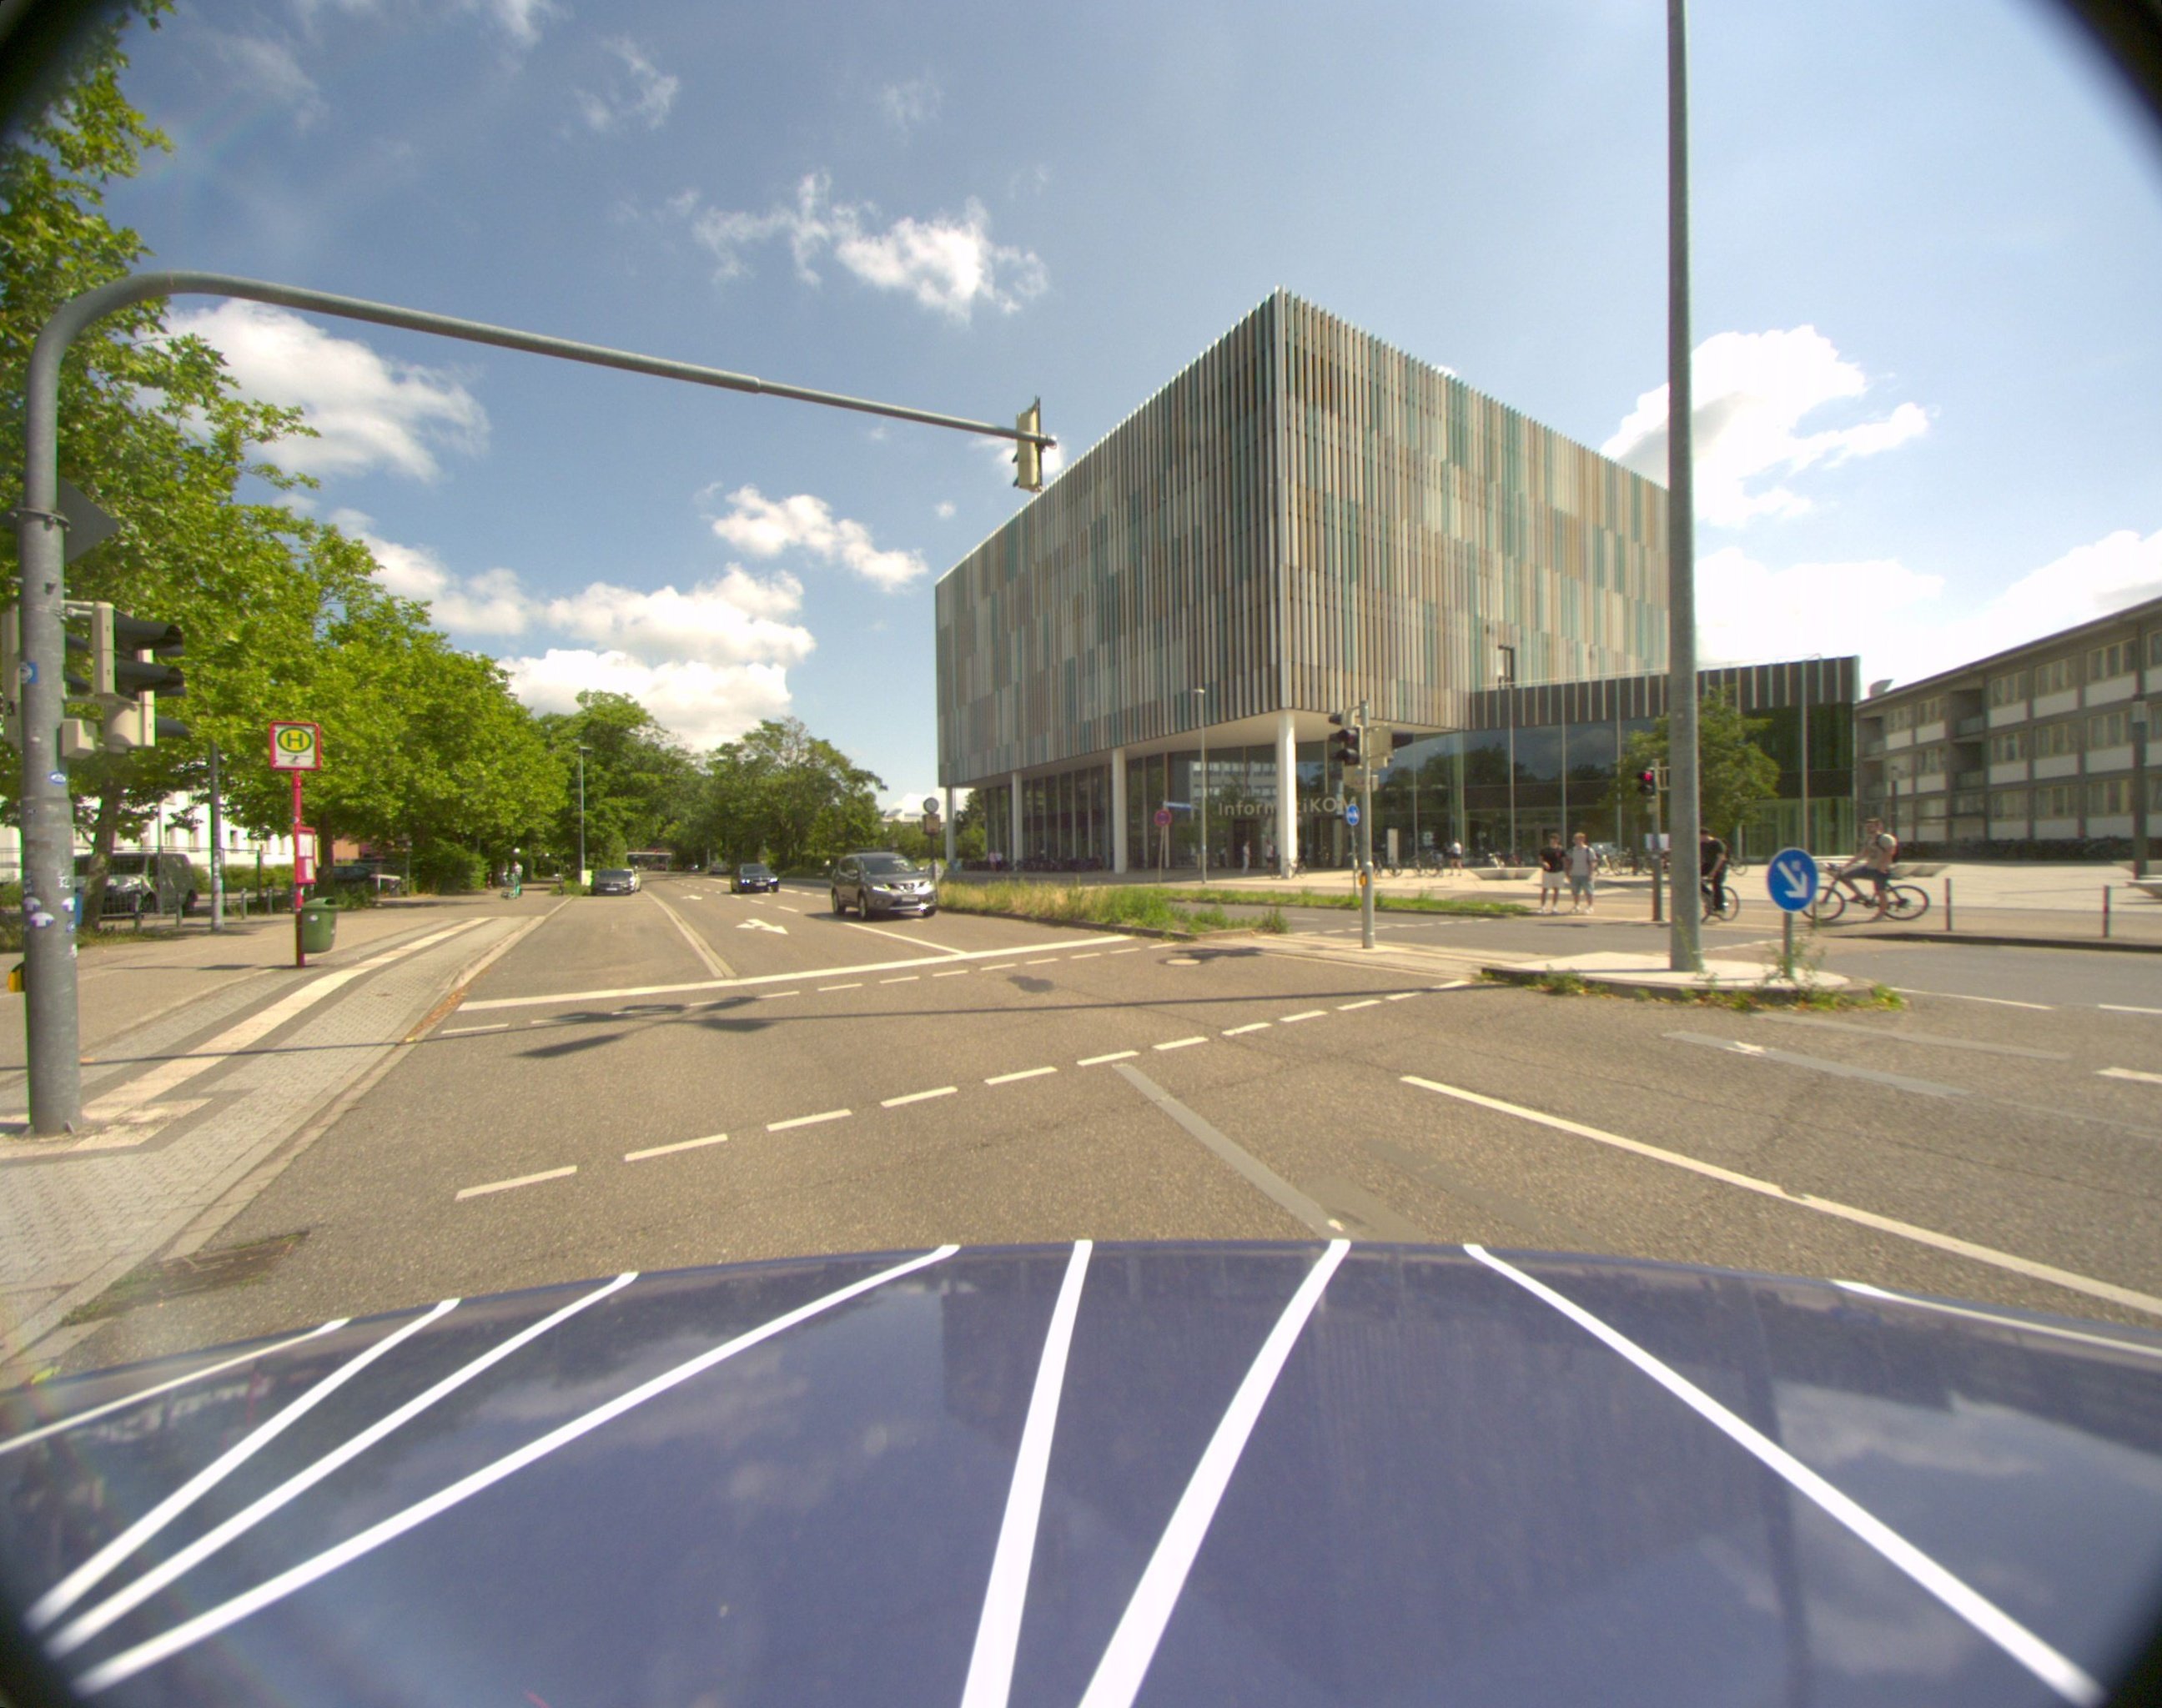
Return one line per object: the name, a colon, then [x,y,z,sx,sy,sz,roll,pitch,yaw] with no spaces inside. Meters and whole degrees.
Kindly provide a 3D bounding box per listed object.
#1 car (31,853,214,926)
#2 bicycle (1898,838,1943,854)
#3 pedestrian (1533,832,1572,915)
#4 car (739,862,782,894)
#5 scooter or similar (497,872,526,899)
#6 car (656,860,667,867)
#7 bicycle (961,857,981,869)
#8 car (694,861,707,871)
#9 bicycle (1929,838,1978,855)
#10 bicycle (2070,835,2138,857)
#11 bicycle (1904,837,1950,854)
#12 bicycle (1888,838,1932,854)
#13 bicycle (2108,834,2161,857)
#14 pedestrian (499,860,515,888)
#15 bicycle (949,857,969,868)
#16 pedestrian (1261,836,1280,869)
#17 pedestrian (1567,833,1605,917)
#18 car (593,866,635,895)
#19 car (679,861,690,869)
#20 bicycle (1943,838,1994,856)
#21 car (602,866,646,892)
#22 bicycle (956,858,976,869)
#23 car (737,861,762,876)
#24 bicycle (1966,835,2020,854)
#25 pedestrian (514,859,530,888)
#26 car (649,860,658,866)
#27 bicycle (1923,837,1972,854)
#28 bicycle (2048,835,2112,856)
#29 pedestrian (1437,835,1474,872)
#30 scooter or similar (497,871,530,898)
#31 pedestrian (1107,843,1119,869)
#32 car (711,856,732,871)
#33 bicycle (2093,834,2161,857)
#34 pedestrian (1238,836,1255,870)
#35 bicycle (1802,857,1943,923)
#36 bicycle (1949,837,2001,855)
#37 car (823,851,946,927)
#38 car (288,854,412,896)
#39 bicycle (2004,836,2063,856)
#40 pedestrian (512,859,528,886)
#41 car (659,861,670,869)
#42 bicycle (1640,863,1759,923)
car: [-28.047,0.956,22.477,1.907,1.854,4.929,-3,1,-34]
bicycle: [51.623,-0.507,46.747,1.768,0.950,0.530,-1,3,30]
pedestrian: [10.678,0.427,17.207,0.631,1.831,0.481,-1,2,44]
car: [-16.093,1.168,38.156,1.832,1.408,4.183,-3,1,-23]
scooter or similar: [-25.078,1.374,33.495,0.530,1.162,1.572,0,-1,-18]
car: [-100.407,2.365,181.858,1.902,1.502,3.820,-3,2,-26]
bicycle: [-10.246,0.832,70.574,1.788,0.950,0.432,-3,2,-32]
car: [-67.107,2.066,133.894,1.902,1.502,3.820,-3,2,-26]
bicycle: [50.339,-0.426,43.862,1.768,0.950,0.530,-1,3,30]
bicycle: [46.570,-0.376,34.624,1.768,0.950,0.530,-1,3,30]
bicycle: [51.356,-0.506,46.137,1.768,0.950,0.530,-1,3,30]
bicycle: [52.204,-0.520,47.872,1.768,0.950,0.530,-1,3,30]
bicycle: [45.575,-0.375,32.551,1.768,0.950,0.530,-1,3,30]
pedestrian: [-36.346,1.259,48.085,0.685,1.771,0.789,-4,3,-39]
bicycle: [-11.699,0.770,72.914,1.788,0.950,0.432,-3,2,-32]
pedestrian: [10.519,-0.089,42.227,0.692,1.831,0.677,-3,2,-24]
pedestrian: [11.210,0.459,16.874,0.416,1.831,0.574,-3,2,-36]
car: [-25.268,1.427,41.161,1.866,1.469,4.930,0,-1,-31]
car: [-85.390,2.364,163.634,1.902,1.502,3.820,-3,2,-26]
bicycle: [49.622,-0.404,42.503,1.768,0.950,0.530,-1,3,30]
car: [-27.544,1.471,45.927,1.746,1.442,4.932,0,-1,-24]
bicycle: [-10.801,0.891,71.411,1.788,0.950,0.432,-3,2,-32]
car: [-34.087,1.441,78.091,2.003,1.412,3.991,-2,1,-28]
bicycle: [48.625,-0.504,40.532,1.768,0.950,0.530,-1,3,30]
pedestrian: [-35.573,1.246,48.323,0.685,1.771,0.789,-4,2,-38]
car: [-121.496,2.458,216.036,1.902,1.502,3.820,-3,2,-26]
bicycle: [50.655,-0.500,44.436,1.768,0.950,0.530,-1,3,30]
bicycle: [47.098,-0.390,35.844,1.768,0.950,0.530,-1,3,30]
pedestrian: [17.028,-0.047,34.571,1.184,1.641,1.013,-2,1,-31]
scooter or similar: [-26.415,1.396,35.396,0.529,1.239,1.289,0,-1,3]
pedestrian: [2.271,0.115,54.305,0.563,1.831,0.553,-3,2,-39]
car: [-48.478,1.269,102.499,1.907,1.801,4.720,-2,1,-33]
bicycle: [46.057,-0.370,33.417,1.768,0.950,0.530,-1,3,30]
pedestrian: [9.222,-0.053,42.255,0.788,1.831,0.517,-2,2,3]
bicycle: [14.330,0.633,13.824,1.666,1.118,0.696,-1,1,34]
bicycle: [49.116,-0.456,41.757,1.768,0.950,0.530,-1,3,30]
car: [-5.274,0.834,19.952,1.828,1.669,4.467,-3,1,-32]
car: [-35.748,0.983,37.342,4.006,1.773,1.995,-4,2,-34]
bicycle: [47.770,-0.413,38.134,1.768,0.950,0.530,-1,3,30]
pedestrian: [-37.123,1.210,50.299,0.685,1.771,0.789,-4,3,-41]
car: [-91.035,2.341,165.958,1.902,1.502,3.820,-3,2,-26]
bicycle: [12.097,0.760,14.930,1.667,1.118,0.696,-1,1,20]
